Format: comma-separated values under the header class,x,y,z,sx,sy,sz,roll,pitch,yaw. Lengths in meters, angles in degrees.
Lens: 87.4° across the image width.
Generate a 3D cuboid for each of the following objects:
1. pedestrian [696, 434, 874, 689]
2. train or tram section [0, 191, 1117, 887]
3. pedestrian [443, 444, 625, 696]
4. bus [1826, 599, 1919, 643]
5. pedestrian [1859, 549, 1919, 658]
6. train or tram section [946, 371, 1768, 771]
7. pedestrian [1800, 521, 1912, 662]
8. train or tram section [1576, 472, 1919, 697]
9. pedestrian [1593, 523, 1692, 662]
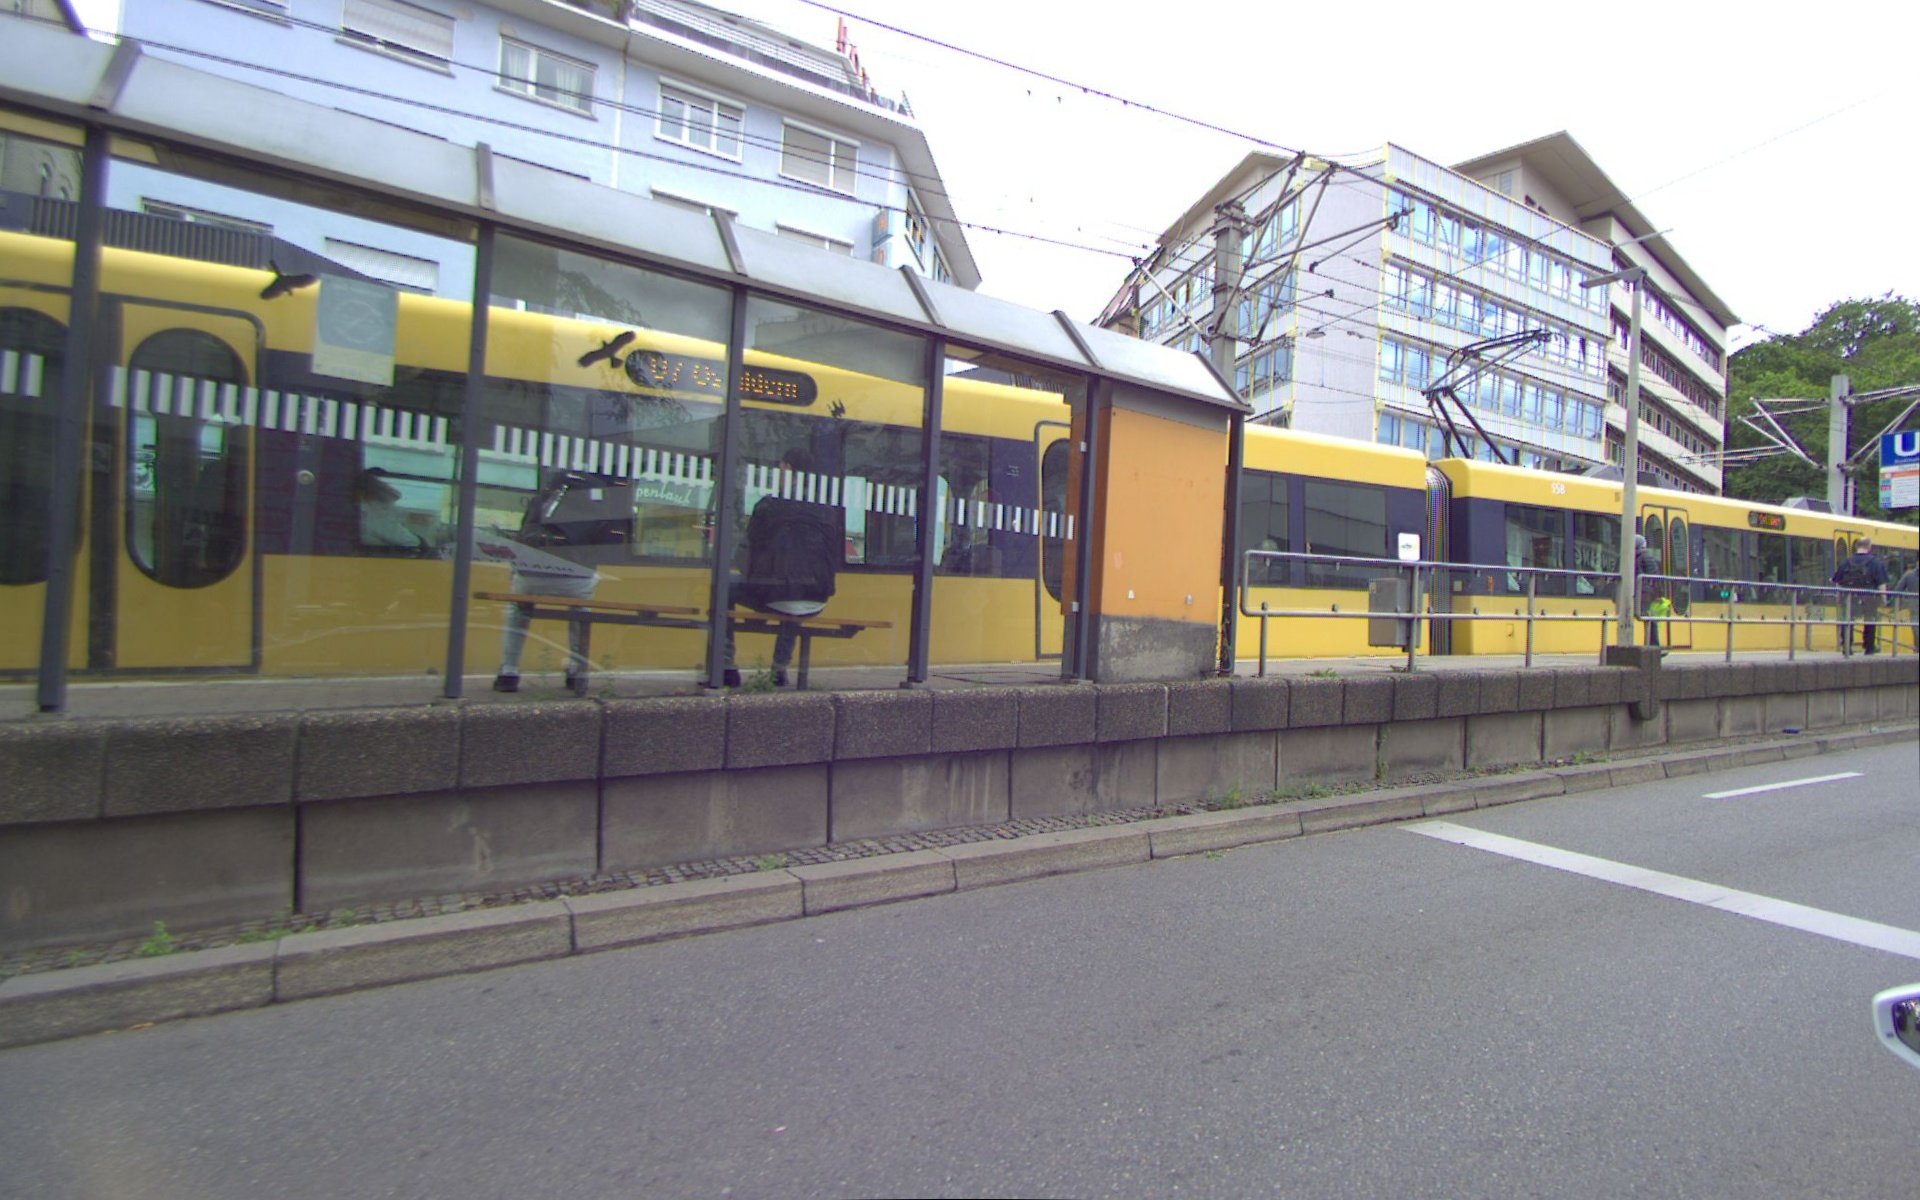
class,x,y,z,sx,sy,sz,roll,pitch,yaw
pedestrian,-1.018,-0.182,5.754,0.769,1.323,0.846,1,-2,-29
train or tram section,-5.318,-0.274,6.883,14.068,3.711,2.867,0,-2,-32
pedestrian,-2.209,-0.119,5.178,0.769,1.157,0.846,1,-2,-29
bus,68.812,1.484,71.088,3.334,3.069,11.512,0,-1,-15
pedestrian,15.826,0.072,16.620,1.030,1.701,1.111,7,-4,-30
train or tram section,6.600,-0.235,14.213,14.068,3.711,2.867,0,-2,-32
pedestrian,13.625,-0.105,15.278,1.219,1.995,0.925,4,-2,-30
train or tram section,18.576,-0.215,21.556,14.310,3.711,2.867,0,-2,-32
pedestrian,8.206,-0.073,12.085,0.657,1.605,0.774,1,-1,-30
